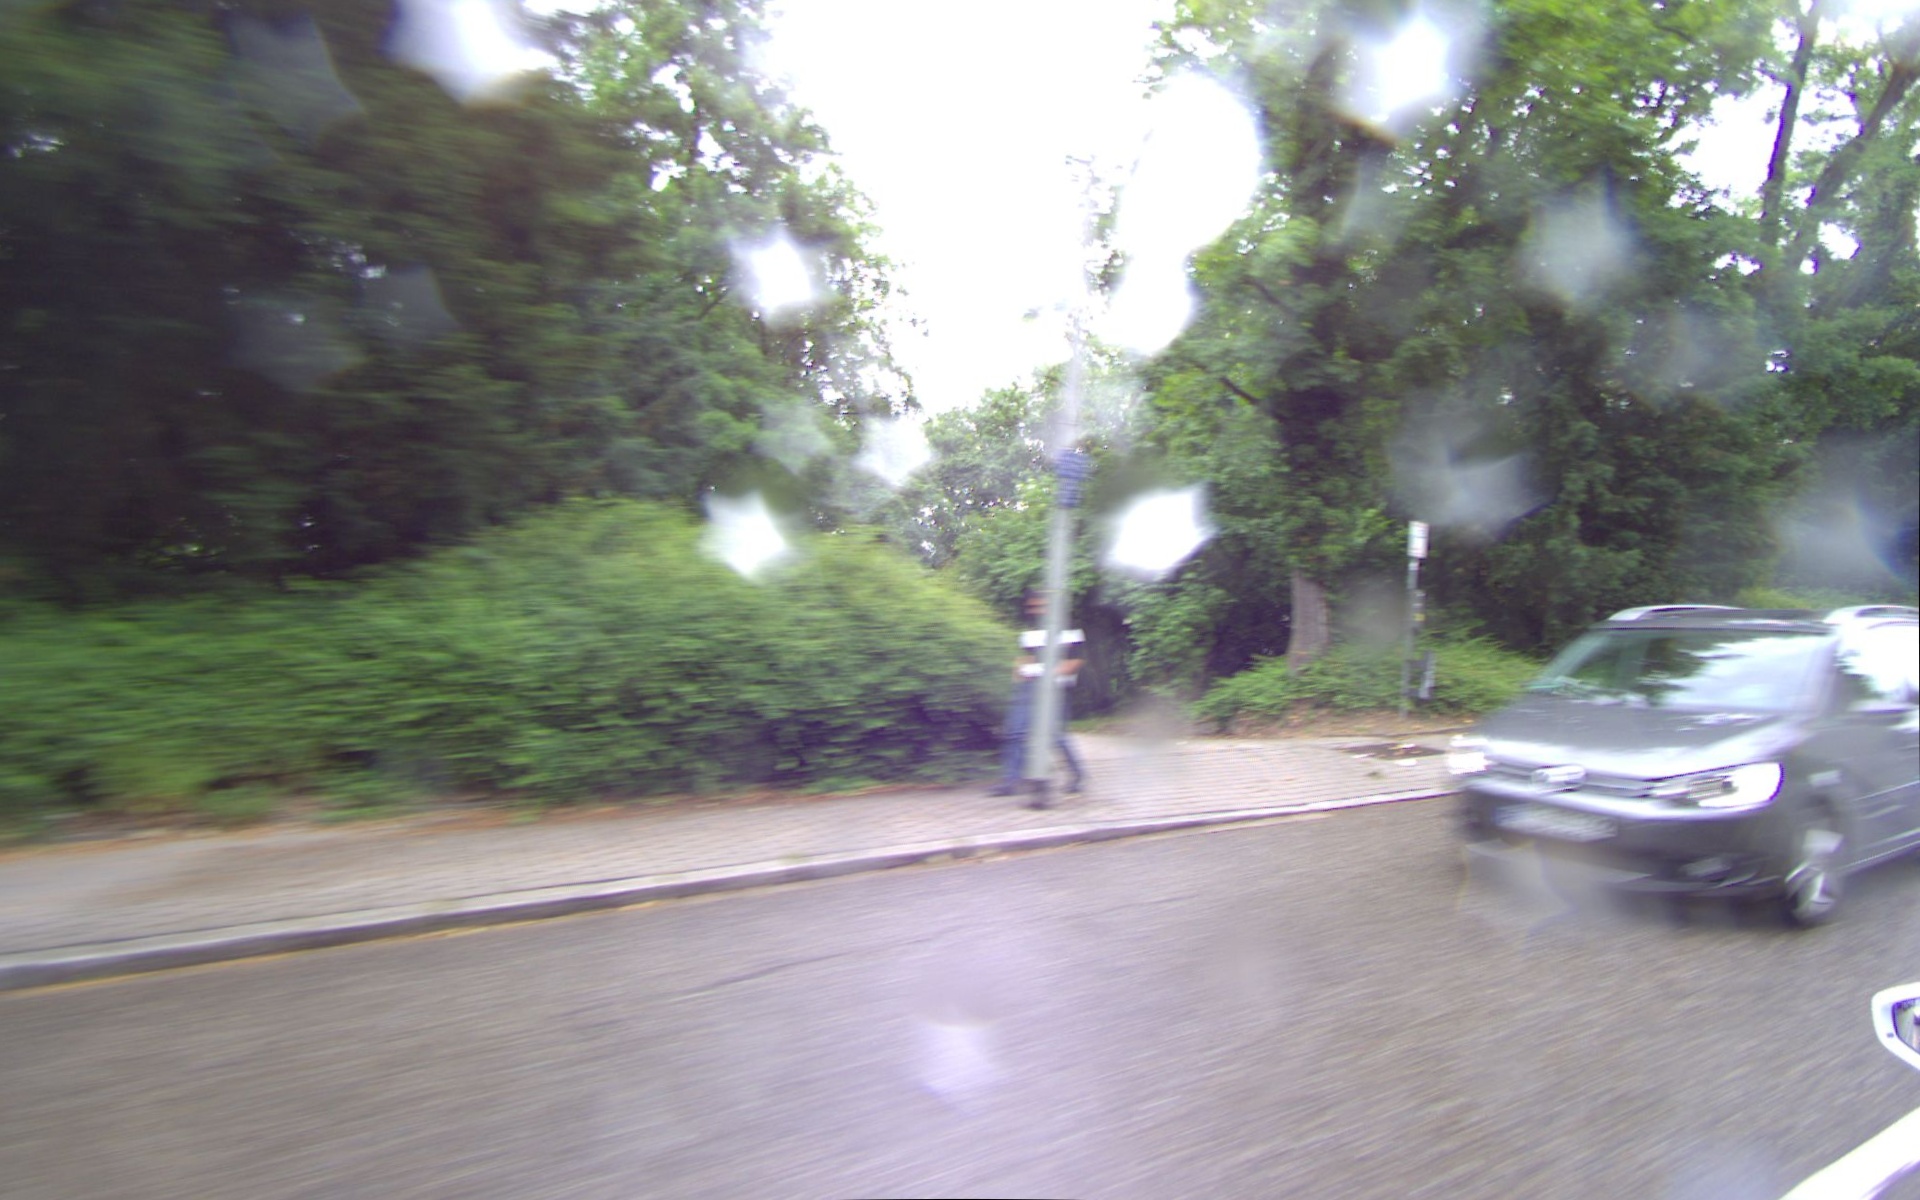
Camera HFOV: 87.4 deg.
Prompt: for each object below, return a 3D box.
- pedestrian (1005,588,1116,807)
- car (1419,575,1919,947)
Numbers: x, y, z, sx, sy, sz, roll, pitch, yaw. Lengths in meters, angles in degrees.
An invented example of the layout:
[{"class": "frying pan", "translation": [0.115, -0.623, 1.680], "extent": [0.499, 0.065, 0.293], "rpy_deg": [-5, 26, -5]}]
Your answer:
[{"class": "pedestrian", "translation": [0.824, 0.748, 8.100], "extent": [0.694, 1.666, 0.713], "rpy_deg": [0, -1, 24]}, {"class": "car", "translation": [5.006, 0.793, 6.512], "extent": [3.955, 1.734, 1.821], "rpy_deg": [1, -1, -32]}]
